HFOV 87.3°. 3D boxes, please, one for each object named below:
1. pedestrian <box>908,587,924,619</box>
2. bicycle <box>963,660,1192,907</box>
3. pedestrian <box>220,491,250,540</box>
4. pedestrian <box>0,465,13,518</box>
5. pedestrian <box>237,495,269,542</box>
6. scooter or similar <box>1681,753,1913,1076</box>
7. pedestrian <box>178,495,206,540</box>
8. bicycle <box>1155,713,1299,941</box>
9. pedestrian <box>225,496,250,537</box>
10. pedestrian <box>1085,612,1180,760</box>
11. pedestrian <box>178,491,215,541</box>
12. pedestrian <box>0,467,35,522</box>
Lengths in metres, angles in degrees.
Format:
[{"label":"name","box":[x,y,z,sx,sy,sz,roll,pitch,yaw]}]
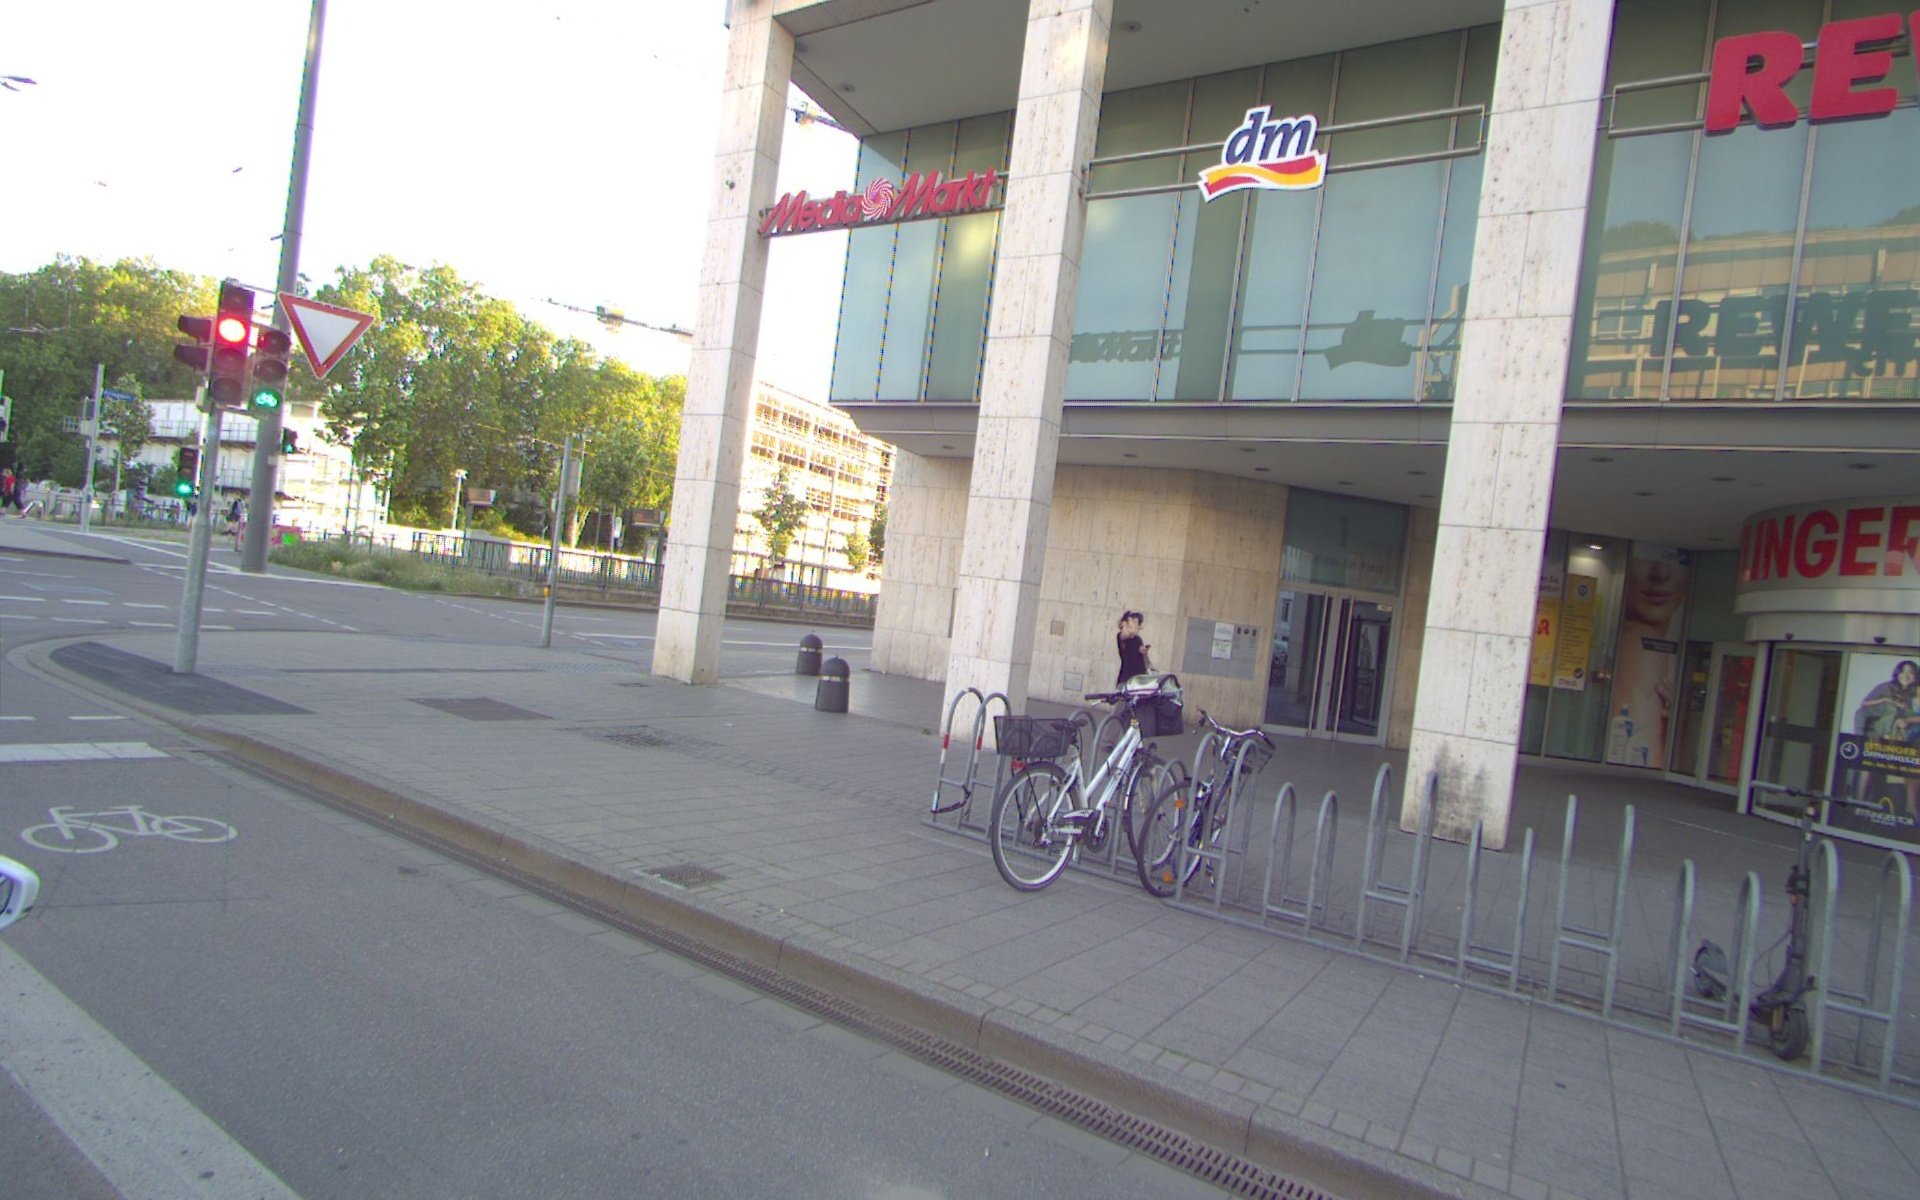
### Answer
[{"label":"pedestrian","box":[-2.914,0.222,66.525,0.559,2.039,0.575,8,1,29]},{"label":"bicycle","box":[0.735,1.005,5.895,0.540,1.198,1.479,8,1,36]},{"label":"pedestrian","box":[-27.725,-3.231,38.464,0.708,1.746,0.660,7,1,-41]},{"label":"pedestrian","box":[-33.963,-3.861,35.379,0.803,1.814,0.790,7,1,-44]},{"label":"pedestrian","box":[-28.644,-3.304,40.759,0.657,1.746,0.712,8,1,30]},{"label":"scooter or similar","box":[4.022,1.437,4.926,0.484,1.214,1.196,8,1,27]},{"label":"pedestrian","box":[-29.391,-3.139,38.493,0.527,1.612,0.571,8,1,32]},{"label":"bicycle","box":[1.739,1.336,6.366,0.474,1.092,1.773,8,0,24]},{"label":"pedestrian","box":[-28.158,-3.250,39.208,0.672,1.459,0.707,7,1,-36]},{"label":"pedestrian","box":[2.101,1.031,12.241,0.696,1.659,0.791,8,1,33]},{"label":"pedestrian","box":[-28.537,-3.129,37.599,0.700,1.746,0.667,7,1,-5]},{"label":"pedestrian","box":[-33.164,-3.701,35.309,0.842,1.756,0.696,7,1,-45]}]
